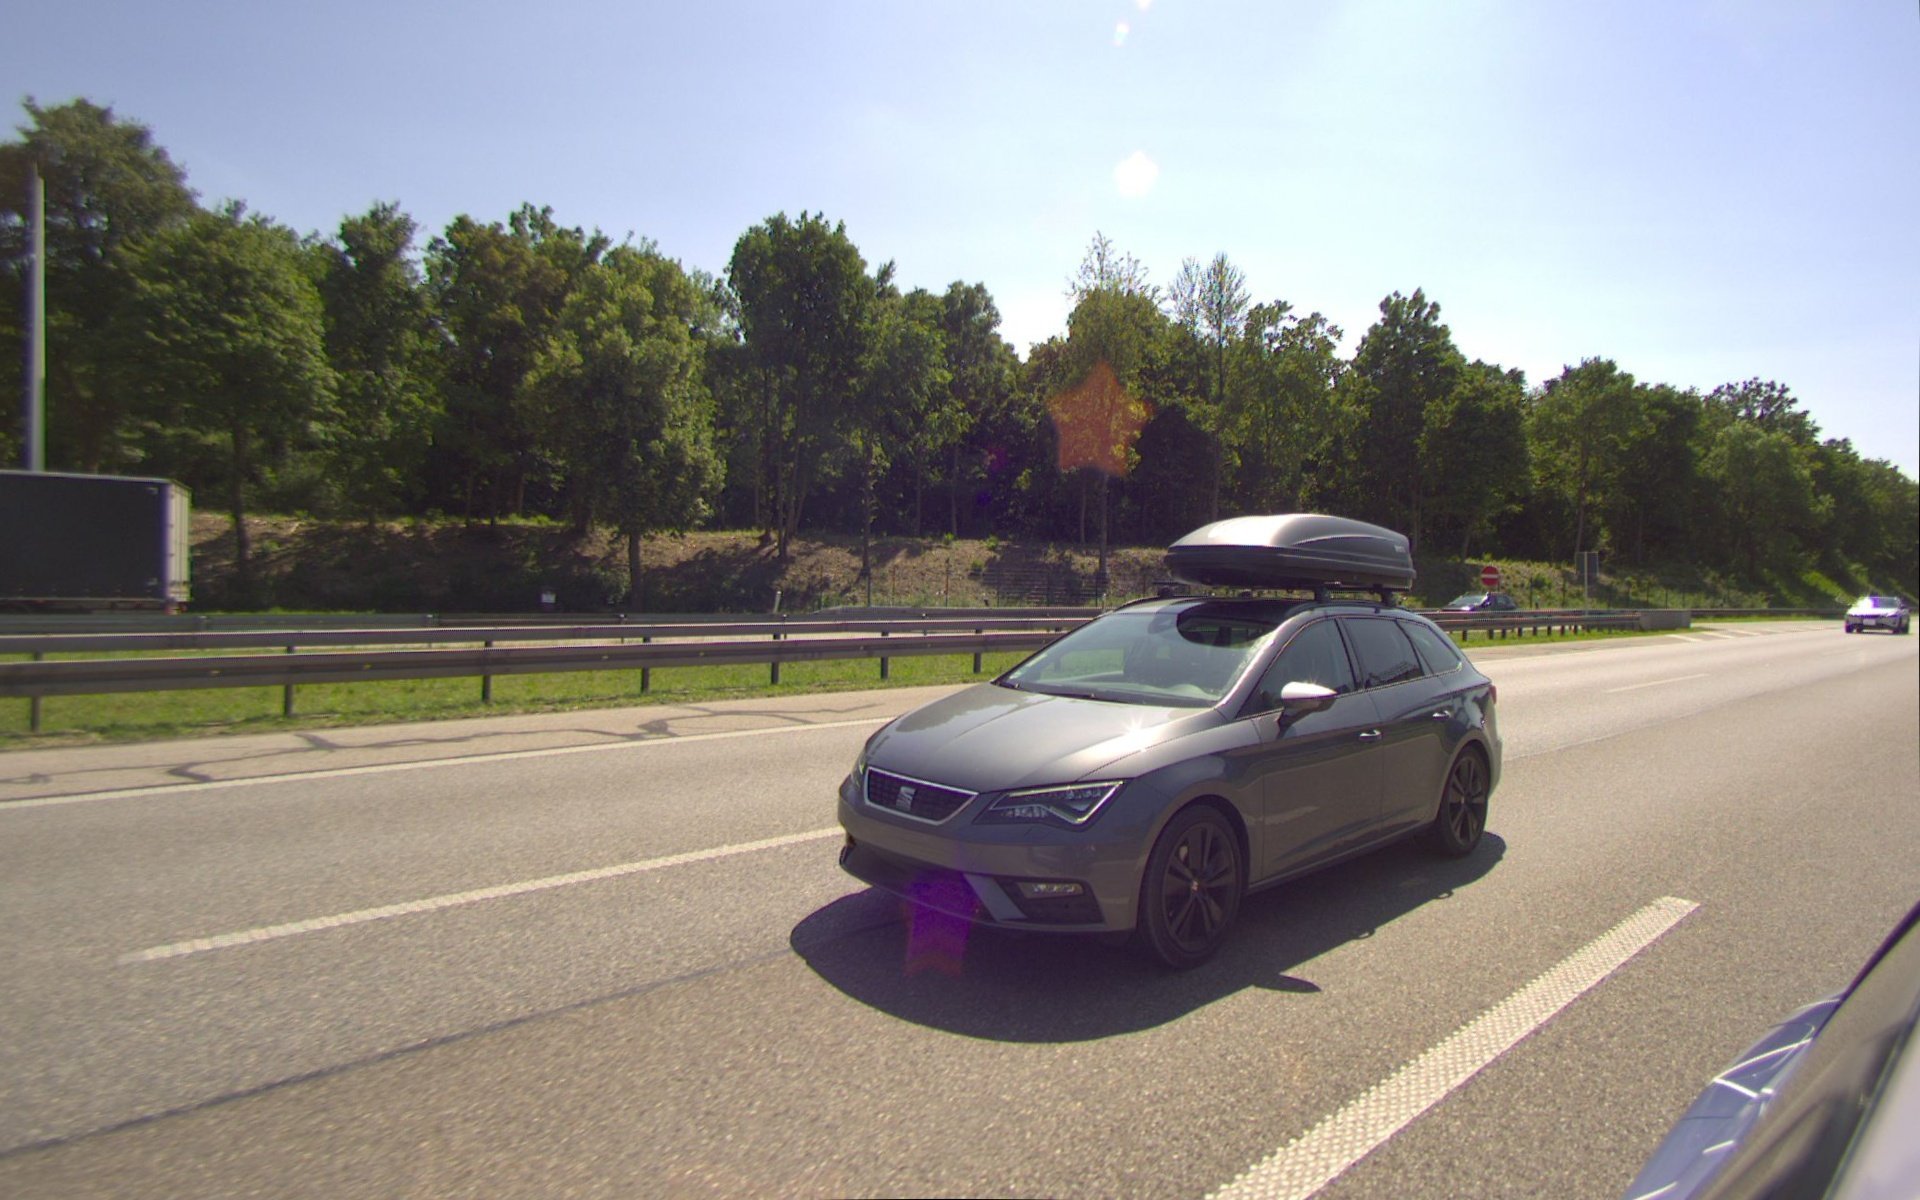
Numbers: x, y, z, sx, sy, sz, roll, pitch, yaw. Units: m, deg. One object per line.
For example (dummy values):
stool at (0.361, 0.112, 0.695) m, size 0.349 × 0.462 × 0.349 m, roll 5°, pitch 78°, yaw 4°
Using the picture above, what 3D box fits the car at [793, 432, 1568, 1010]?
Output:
car at (1.575, 0.365, 5.541) m, size 4.745 × 1.899 × 1.668 m, roll 0°, pitch 2°, yaw -42°

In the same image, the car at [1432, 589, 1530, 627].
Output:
car at (22.761, 0.350, 44.188) m, size 4.172 × 1.588 × 1.773 m, roll 0°, pitch 0°, yaw -29°

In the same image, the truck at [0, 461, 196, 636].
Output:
truck at (-24.051, -1.256, 23.898) m, size 9.162 × 3.996 × 3.301 m, roll 1°, pitch 1°, yaw -30°

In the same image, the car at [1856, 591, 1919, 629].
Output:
car at (41.202, 0.409, 44.701) m, size 3.963 × 1.588 × 1.847 m, roll 0°, pitch 0°, yaw -40°
